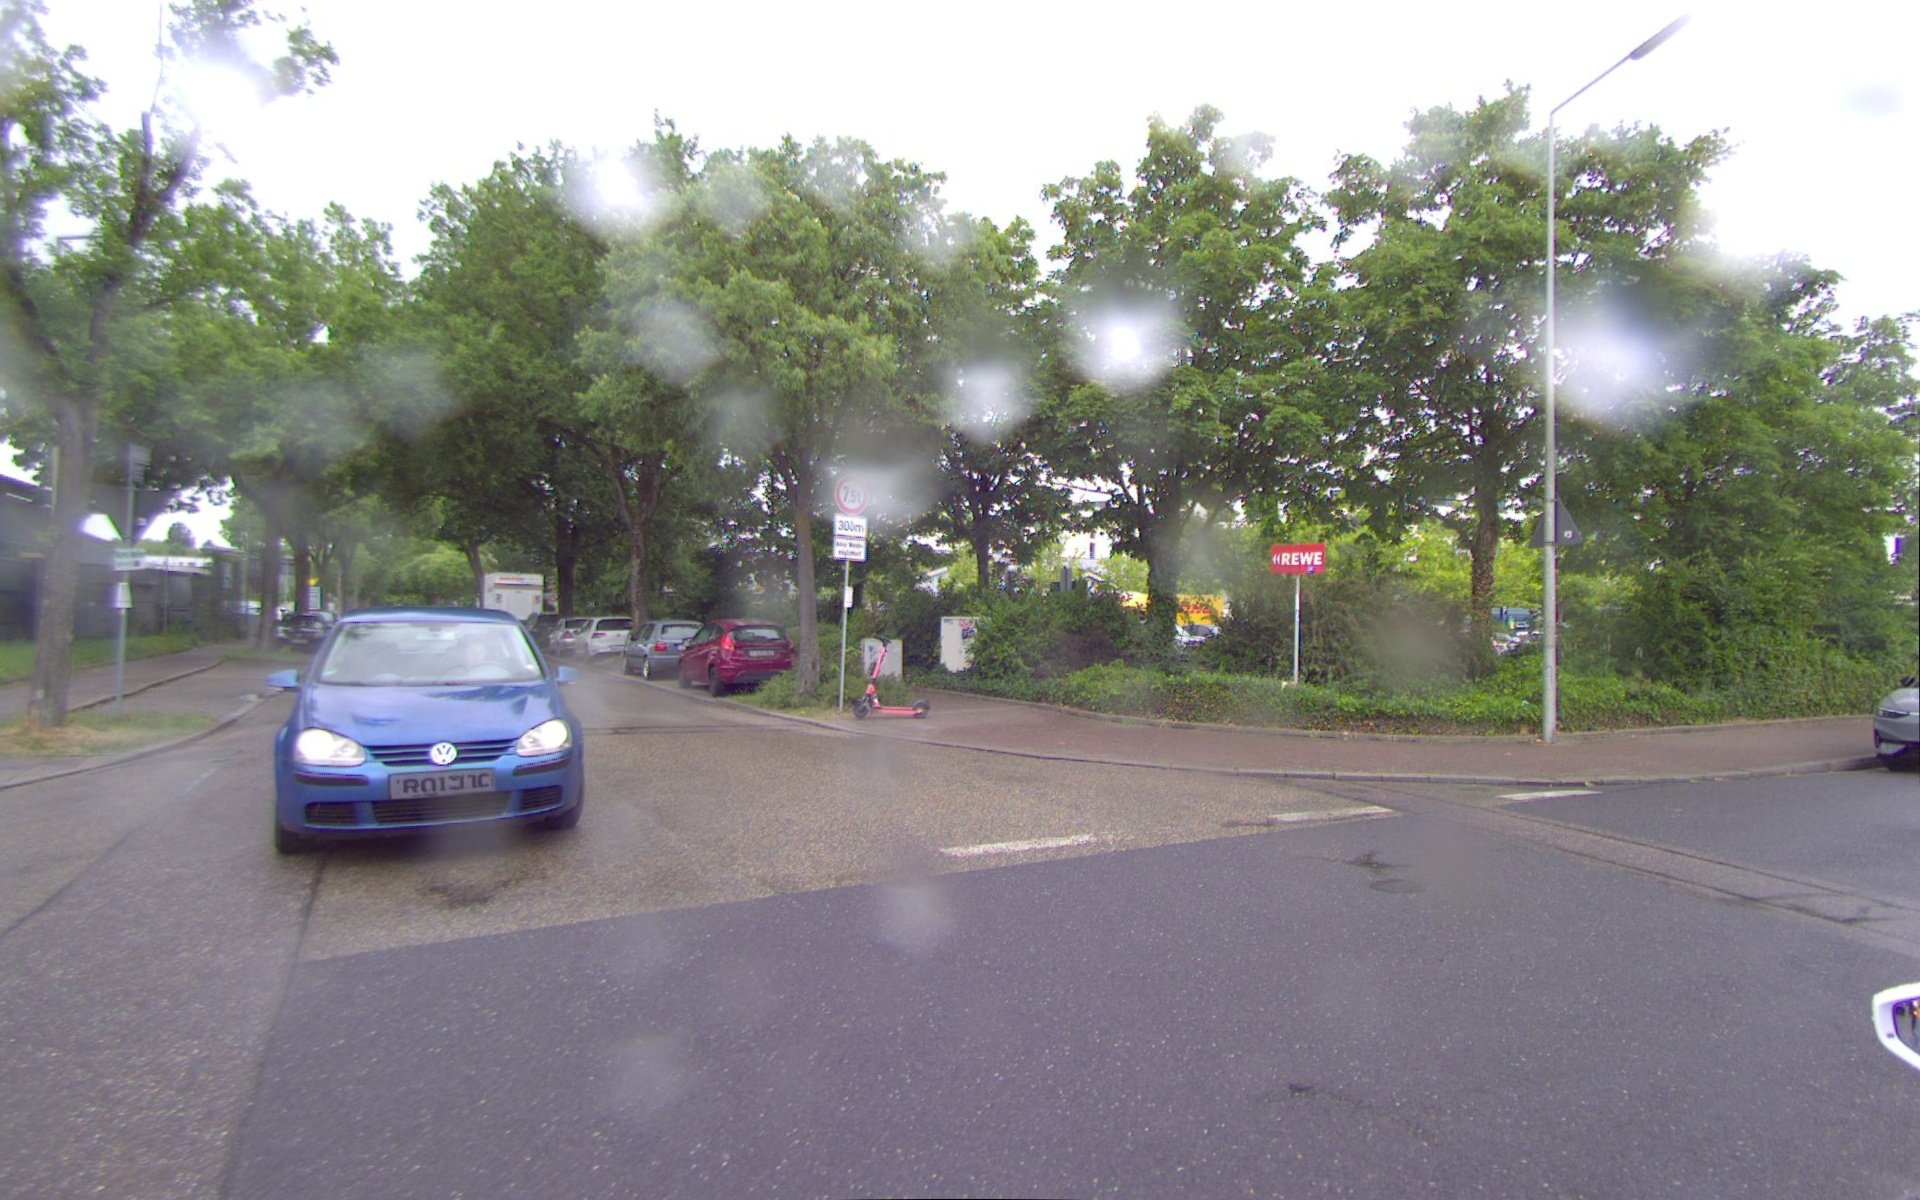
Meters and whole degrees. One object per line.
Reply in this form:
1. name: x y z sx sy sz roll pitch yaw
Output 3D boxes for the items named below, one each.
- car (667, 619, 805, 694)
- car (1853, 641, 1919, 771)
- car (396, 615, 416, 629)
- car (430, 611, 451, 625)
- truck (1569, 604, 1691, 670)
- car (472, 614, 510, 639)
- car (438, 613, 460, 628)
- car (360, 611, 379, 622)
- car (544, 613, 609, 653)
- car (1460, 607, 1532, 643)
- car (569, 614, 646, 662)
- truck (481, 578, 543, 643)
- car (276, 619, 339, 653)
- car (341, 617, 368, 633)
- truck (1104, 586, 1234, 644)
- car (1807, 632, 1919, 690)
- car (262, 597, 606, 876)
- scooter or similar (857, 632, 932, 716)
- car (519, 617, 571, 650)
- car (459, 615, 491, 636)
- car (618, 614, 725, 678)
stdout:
1. car: -4.706 1.098 20.688 1.715 1.381 3.970 1 -2 -29
2. car: 13.708 1.321 12.989 4.692 1.548 1.801 2 -5 -30
3. car: -67.099 2.689 121.595 1.904 1.593 3.966 2 -2 -31
4. car: -63.660 2.178 123.053 1.904 1.593 3.966 2 -2 -31
5. truck: 30.020 1.654 44.962 6.392 2.789 1.984 2 -1 -31
6. car: -31.925 1.784 68.368 1.904 1.593 3.966 2 -2 -31
7. car: -57.302 2.258 112.693 1.904 1.593 3.966 2 -2 -31
8. car: -66.546 1.839 113.282 1.550 1.218 3.972 2 -2 -27
9. car: -14.354 1.239 37.473 1.715 1.401 4.066 1 -2 -29
10. car: 35.920 1.674 67.298 4.754 2.327 1.985 2 -1 -29
11. car: -11.506 1.206 32.620 1.715 1.460 3.970 1 -2 -29
12. truck: -25.942 0.647 58.047 2.572 3.515 6.761 2 -1 -30
13. car: -24.594 1.340 37.957 1.550 1.218 3.972 2 -2 -27
14. car: -49.385 2.012 81.986 1.550 1.218 3.972 2 -2 -27
15. truck: 10.148 0.784 48.524 6.315 2.636 1.986 2 -1 -28
16. car: 26.397 1.710 27.822 1.693 1.479 4.168 2 0 -31
17. car: -3.875 0.780 7.450 1.715 1.460 3.970 1 -2 -29
18. scooter or similar: -0.949 1.077 14.628 1.045 1.191 0.283 1 -1 -22
19. car: -18.707 1.491 45.166 1.715 1.401 4.066 1 -2 -29
20. car: -38.962 2.031 80.705 1.904 1.593 3.966 2 -2 -31
21. car: -7.317 1.118 25.236 1.715 1.460 3.970 1 -2 -29
